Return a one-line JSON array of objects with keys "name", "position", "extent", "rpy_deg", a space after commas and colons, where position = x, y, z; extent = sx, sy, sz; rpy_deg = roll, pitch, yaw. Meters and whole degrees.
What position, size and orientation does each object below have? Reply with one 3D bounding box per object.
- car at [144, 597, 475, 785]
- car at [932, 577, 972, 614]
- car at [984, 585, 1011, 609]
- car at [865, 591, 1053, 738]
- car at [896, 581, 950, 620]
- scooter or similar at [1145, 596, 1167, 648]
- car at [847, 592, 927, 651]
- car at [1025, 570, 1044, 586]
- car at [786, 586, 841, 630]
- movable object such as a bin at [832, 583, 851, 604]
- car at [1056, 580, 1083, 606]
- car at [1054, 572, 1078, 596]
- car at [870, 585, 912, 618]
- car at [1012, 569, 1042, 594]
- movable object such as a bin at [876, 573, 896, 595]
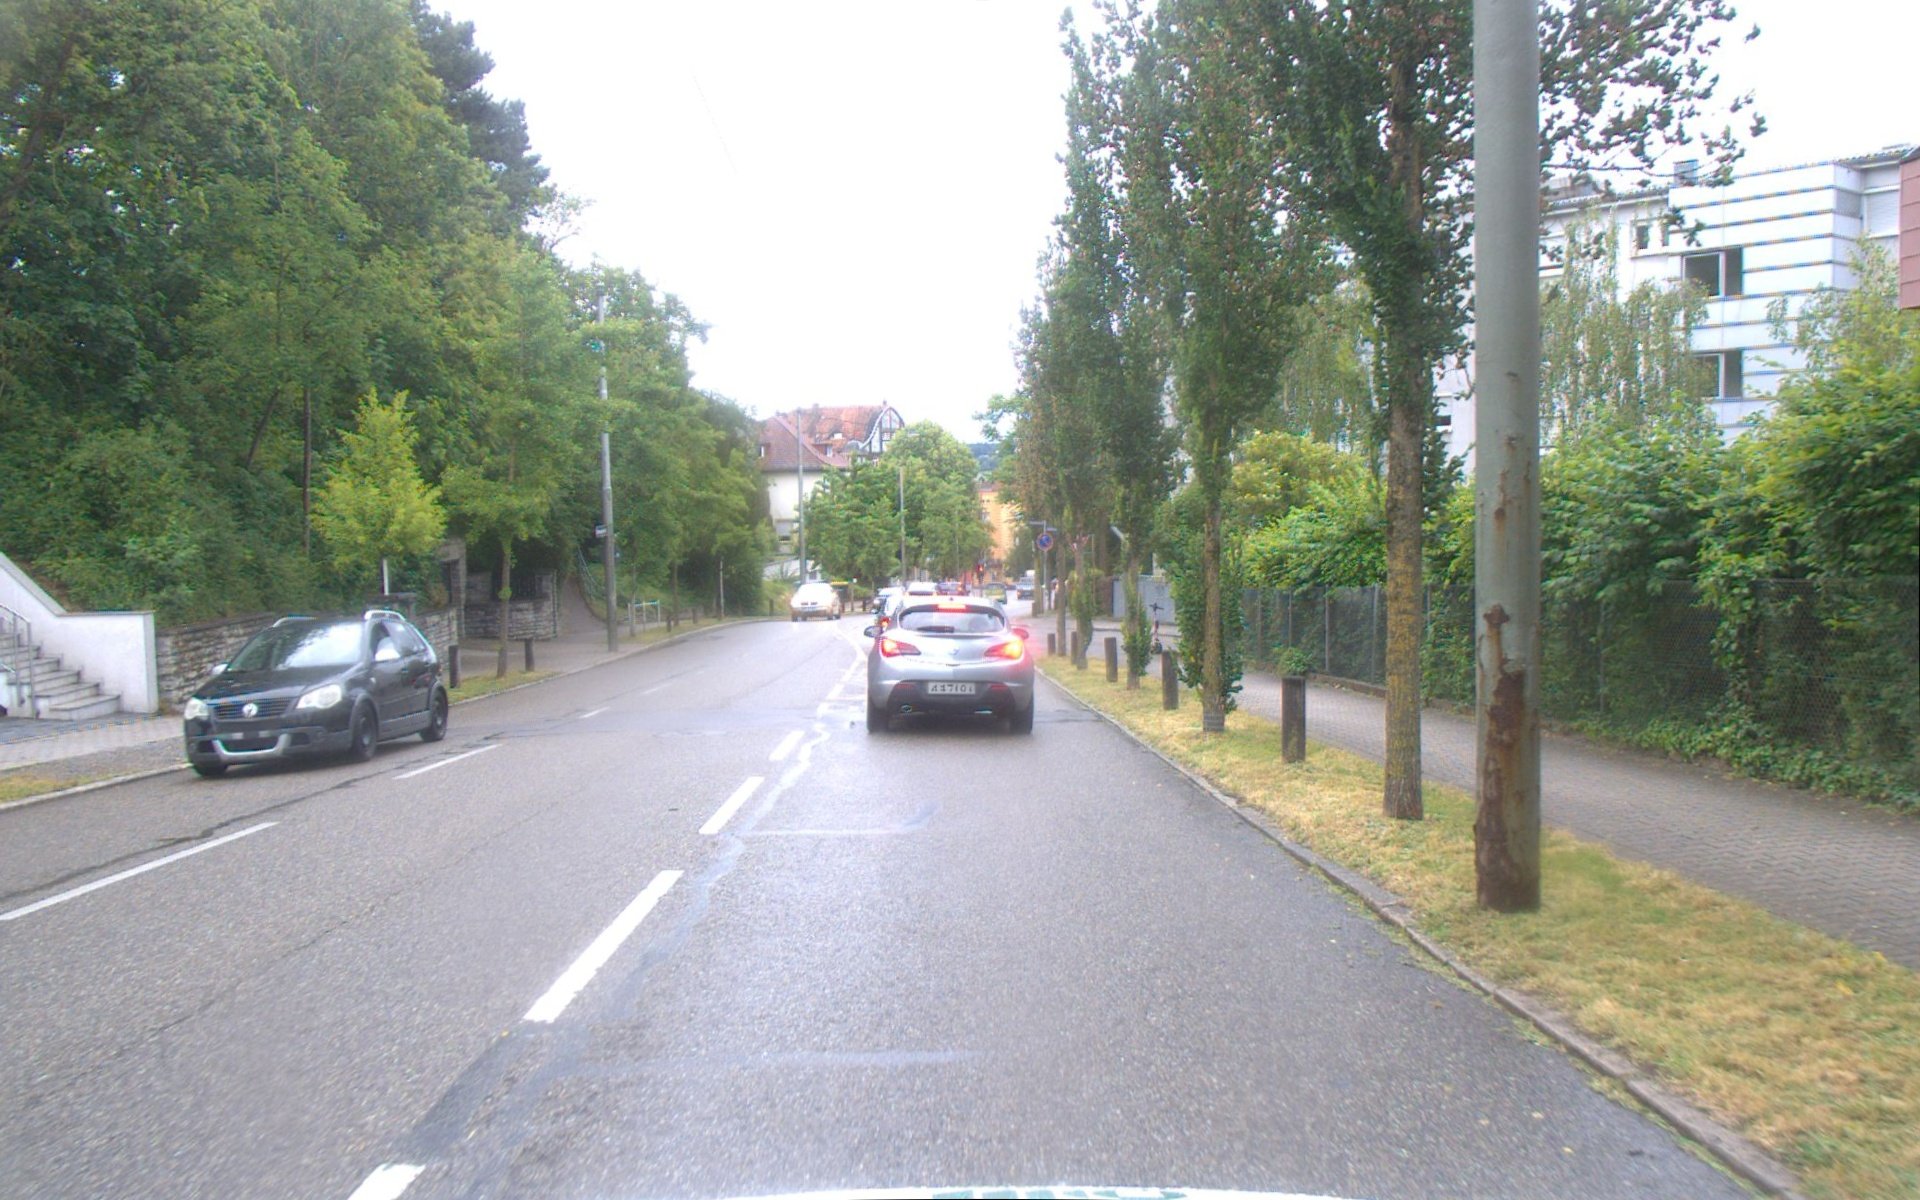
[{"name": "car", "position": [-6.519, 0.825, 17.075], "extent": [1.710, 1.576, 3.918], "rpy_deg": [-4, 0, 1]}, {"name": "car", "position": [-0.407, -0.266, 87.690], "extent": [1.731, 1.812, 3.979], "rpy_deg": [2, 2, 4]}, {"name": "car", "position": [2.704, -0.247, 119.002], "extent": [1.717, 1.679, 4.002], "rpy_deg": [2, 1, 4]}, {"name": "car", "position": [-0.039, 0.653, 18.915], "extent": [1.906, 1.457, 3.883], "rpy_deg": [1, 0, -1]}, {"name": "car", "position": [-1.559, 0.002, 71.440], "extent": [1.919, 1.497, 3.953], "rpy_deg": [2, 2, 4]}, {"name": "scooter or similar", "position": [4.939, 0.548, 41.775], "extent": [0.336, 1.276, 1.267], "rpy_deg": [1, 0, -2]}, {"name": "car", "position": [-1.771, 0.500, 41.332], "extent": [1.760, 1.346, 4.001], "rpy_deg": [0, 1, 1]}, {"name": "car", "position": [9.244, -2.732, 204.249], "extent": [1.951, 1.815, 4.004], "rpy_deg": [2, 2, 7]}, {"name": "car", "position": [-5.760, 0.290, 65.377], "extent": [1.729, 1.511, 3.802], "rpy_deg": [-3, 2, 1]}, {"name": "movable object such as a bin", "position": [-8.088, -0.447, 112.743], "extent": [1.245, 1.411, 0.489], "rpy_deg": [0, 1, 4]}, {"name": "car", "position": [6.523, -0.411, 98.623], "extent": [1.472, 1.460, 4.002], "rpy_deg": [-2, 0, 5]}, {"name": "car", "position": [9.885, -1.496, 154.204], "extent": [1.951, 2.071, 4.739], "rpy_deg": [2, 2, 6]}, {"name": "car", "position": [-3.769, 0.059, 91.539], "extent": [1.872, 1.612, 4.588], "rpy_deg": [-4, 1, 2]}, {"name": "car", "position": [6.105, -1.686, 150.328], "extent": [2.284, 2.071, 4.739], "rpy_deg": [2, 2, 6]}, {"name": "movable object such as a bin", "position": [-4.744, -1.018, 106.504], "extent": [1.245, 1.411, 0.489], "rpy_deg": [0, 1, 4]}]
